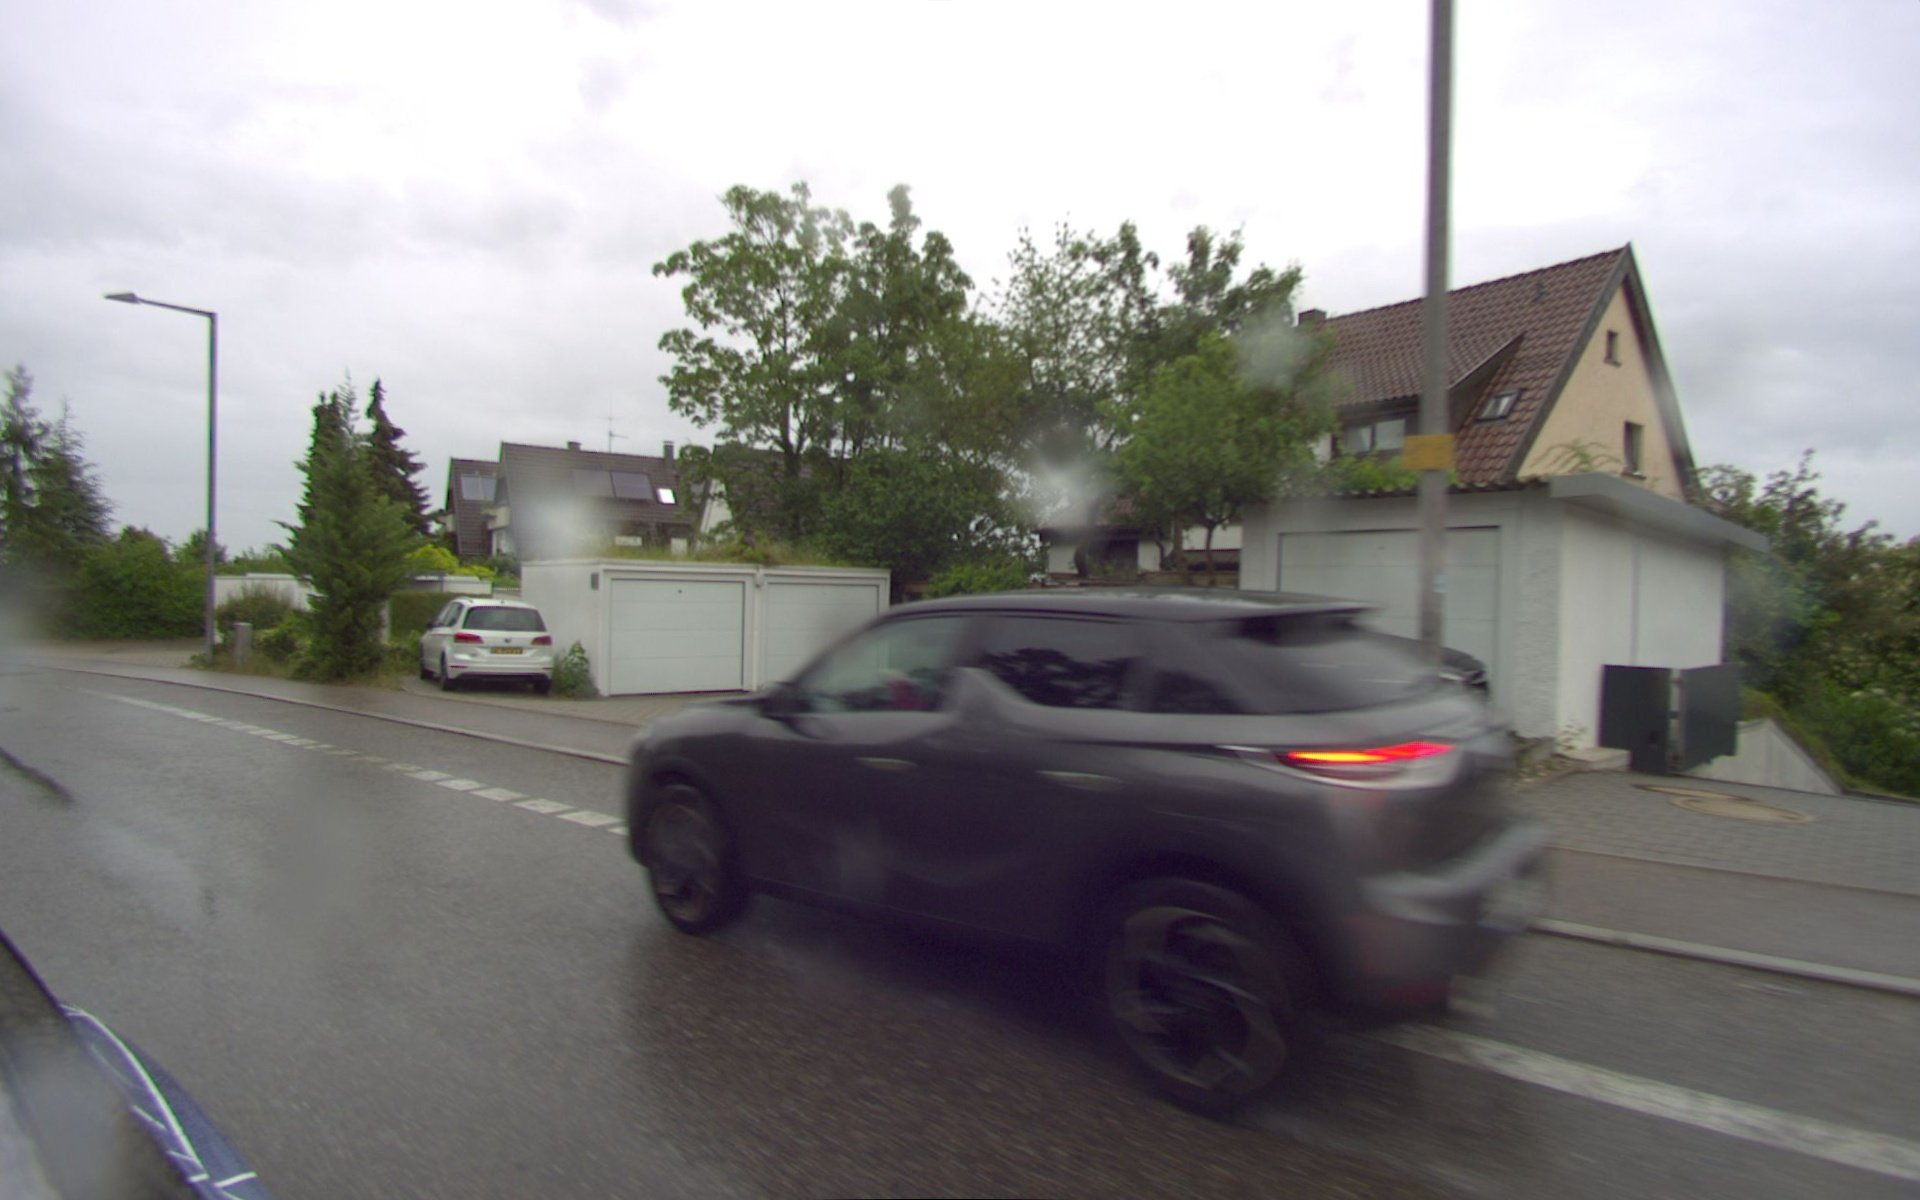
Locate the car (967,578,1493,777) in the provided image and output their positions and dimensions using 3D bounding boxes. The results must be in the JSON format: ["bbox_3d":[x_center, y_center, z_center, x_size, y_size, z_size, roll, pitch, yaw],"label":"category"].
[{"bbox_3d":[2.348,0.576,9.107,4.244,1.416,1.820,-1,0,31],"label":"car"}]

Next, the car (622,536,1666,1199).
[{"bbox_3d":[0.479,0.618,4.055,3.697,1.481,1.832,-1,0,40],"label":"car"}]

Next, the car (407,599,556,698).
[{"bbox_3d":[-8.855,0.796,18.531,1.682,1.565,4.399,-1,0,-36],"label":"car"}]
